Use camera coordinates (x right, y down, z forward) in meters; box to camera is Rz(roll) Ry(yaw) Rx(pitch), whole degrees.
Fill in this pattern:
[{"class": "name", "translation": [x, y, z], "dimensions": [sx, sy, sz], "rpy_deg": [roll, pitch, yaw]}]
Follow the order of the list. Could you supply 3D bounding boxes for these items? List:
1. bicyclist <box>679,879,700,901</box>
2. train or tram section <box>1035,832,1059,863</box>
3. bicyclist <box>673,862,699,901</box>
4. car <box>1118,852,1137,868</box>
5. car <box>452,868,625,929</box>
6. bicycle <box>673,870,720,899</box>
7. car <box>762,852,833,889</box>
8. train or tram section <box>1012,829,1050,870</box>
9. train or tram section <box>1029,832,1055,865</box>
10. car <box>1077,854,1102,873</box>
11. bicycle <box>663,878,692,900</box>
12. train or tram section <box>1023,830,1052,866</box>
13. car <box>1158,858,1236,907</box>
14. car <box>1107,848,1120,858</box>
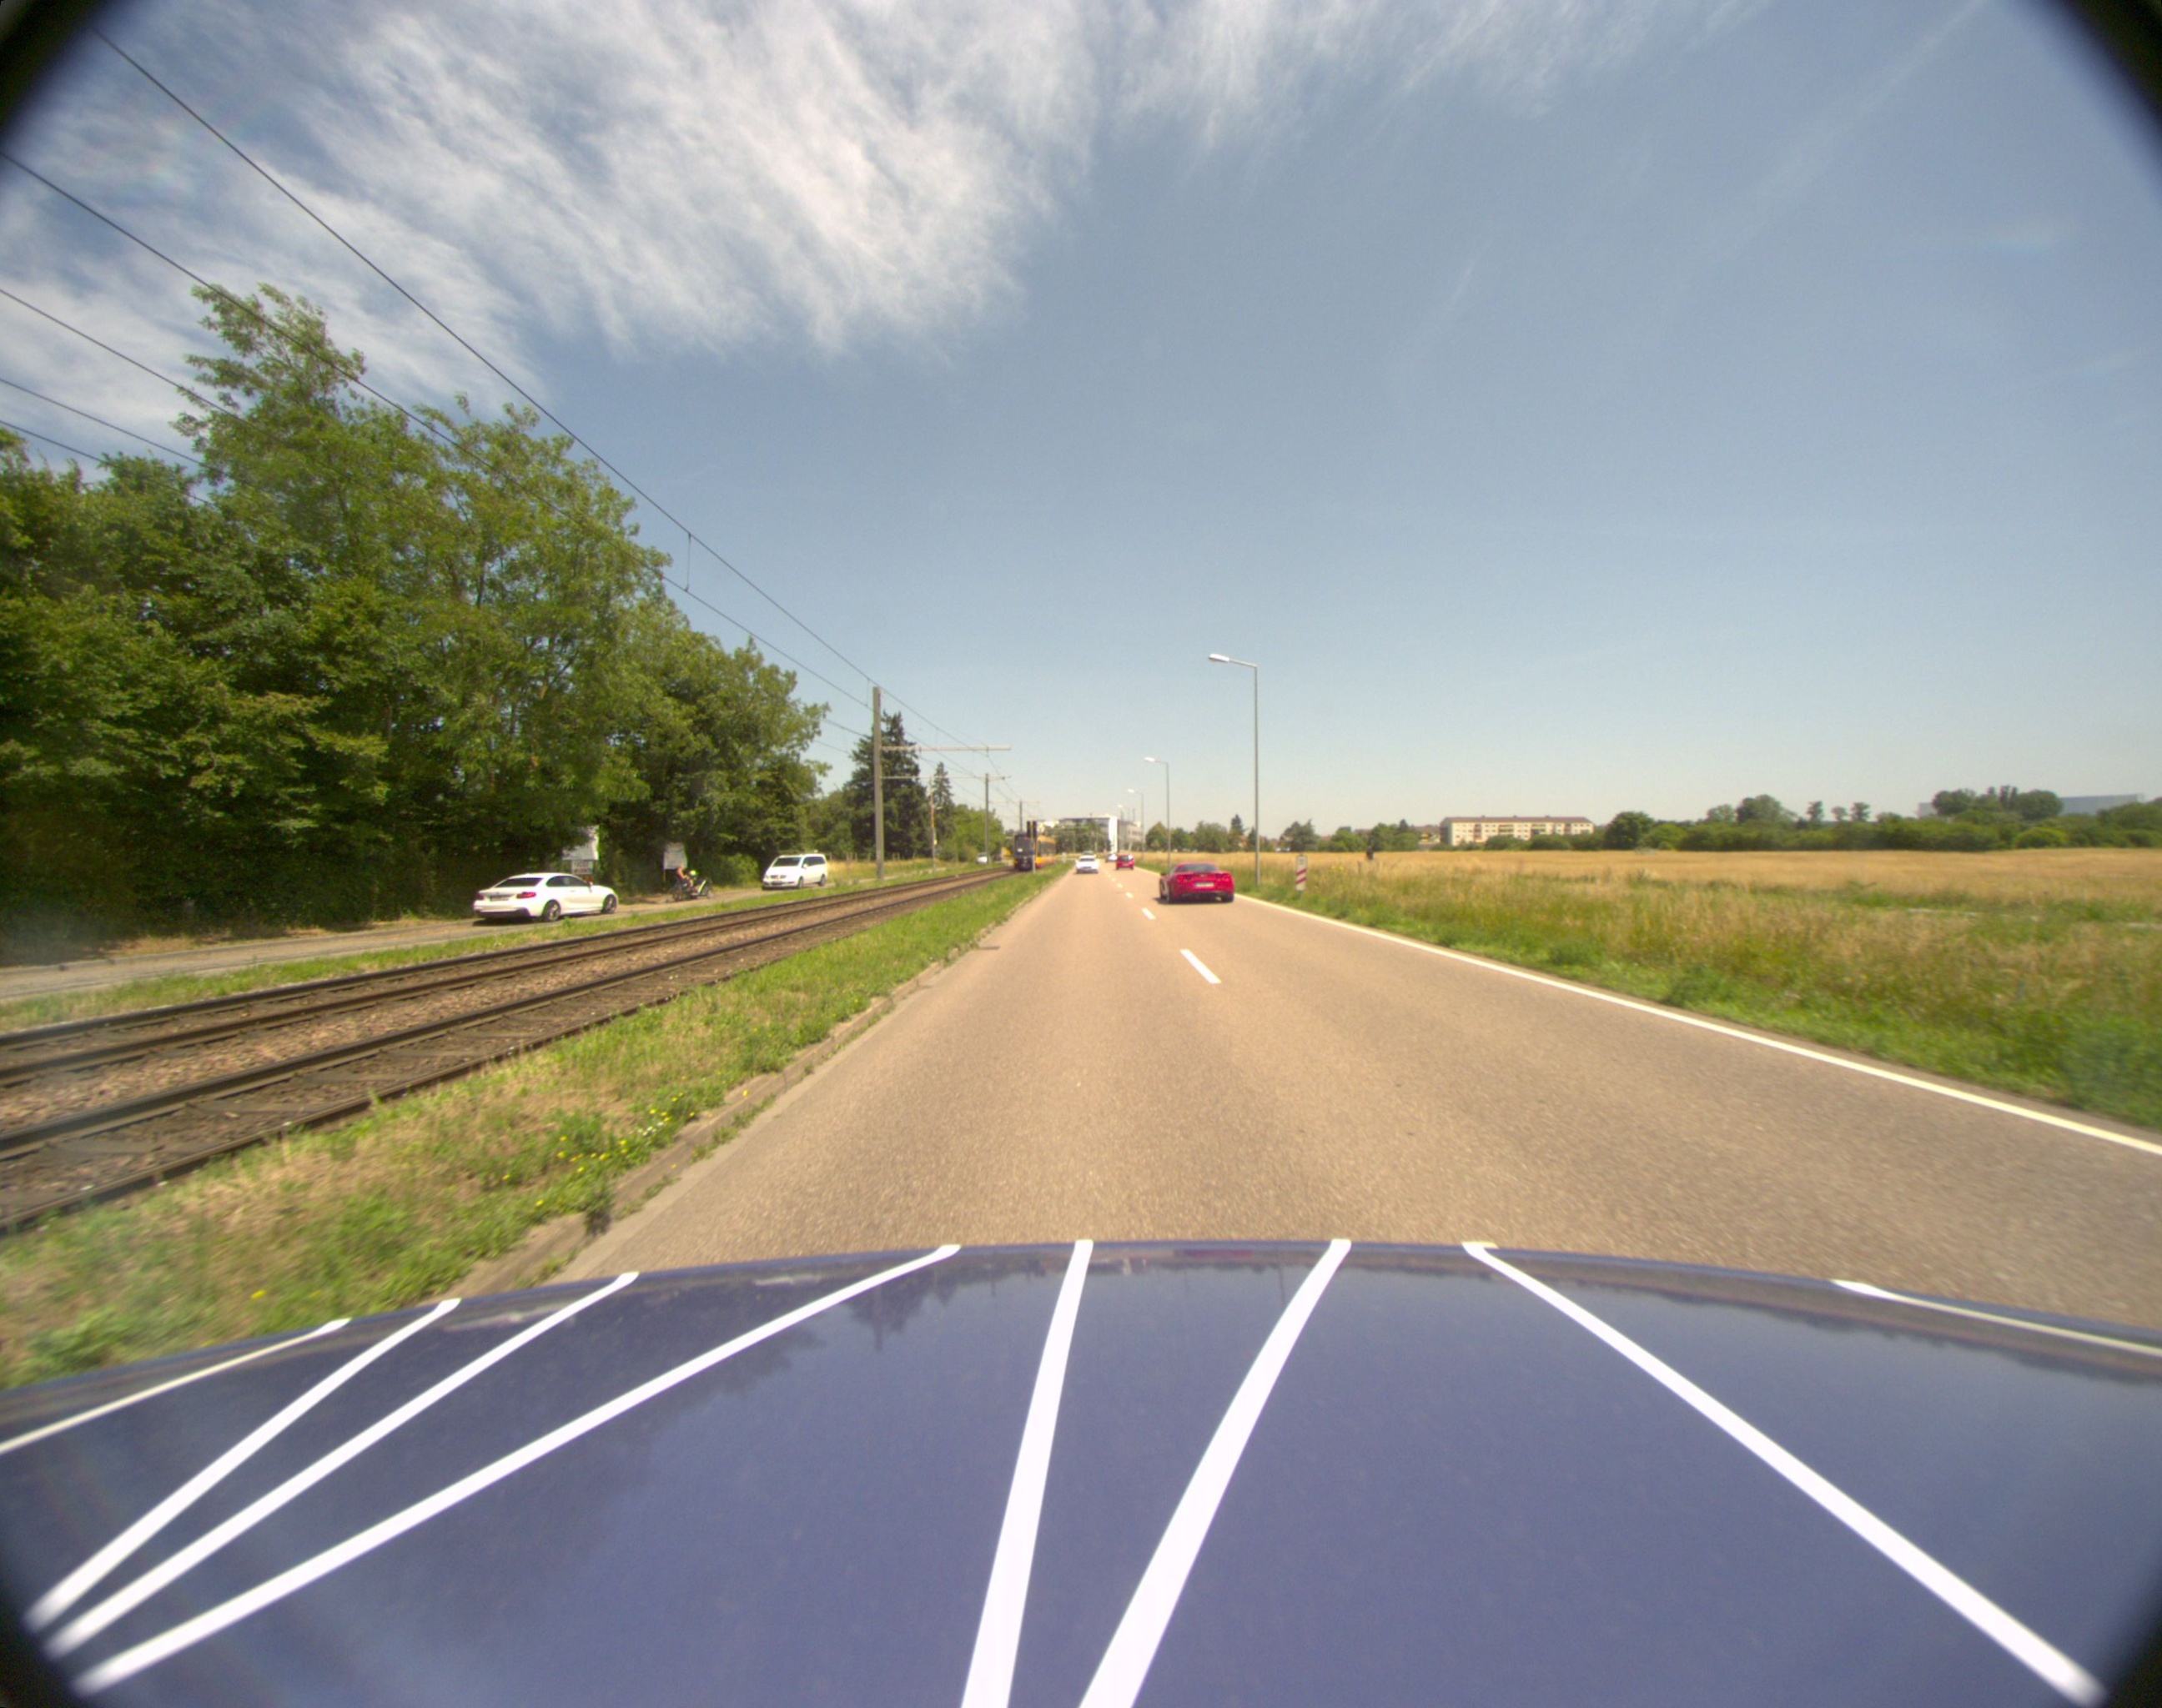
[{"class": "bicyclist", "translation": [-16.872, 1.546, 32.754], "dimensions": [0.524, 0.871, 0.762], "rpy_deg": [-1, 2, -4]}, {"class": "train or tram section", "translation": [-4.368, -0.902, 98.622], "dimensions": [2.435, 3.745, 11.556], "rpy_deg": [0, 1, 1]}, {"class": "bicyclist", "translation": [-16.540, 1.157, 31.819], "dimensions": [0.610, 1.579, 0.925], "rpy_deg": [-1, 2, -4]}, {"class": "car", "translation": [4.424, 0.531, 73.184], "dimensions": [1.649, 1.392, 3.843], "rpy_deg": [0, 1, 1]}, {"class": "car", "translation": [-16.024, 1.247, 22.822], "dimensions": [1.801, 1.441, 4.629], "rpy_deg": [0, 1, 1]}, {"class": "bicycle", "translation": [-16.558, 1.305, 32.743], "dimensions": [1.148, 1.140, 1.658], "rpy_deg": [0, 2, 1]}, {"class": "car", "translation": [-15.760, 0.873, 42.547], "dimensions": [1.998, 1.865, 5.013], "rpy_deg": [0, 1, 1]}, {"class": "train or tram section", "translation": [-4.709, -0.520, 73.732], "dimensions": [2.772, 3.668, 11.183], "rpy_deg": [0, 1, 1]}, {"class": "train or tram section", "translation": [-4.533, -0.712, 89.456], "dimensions": [2.567, 3.692, 6.728], "rpy_deg": [0, 1, 1]}, {"class": "car", "translation": [0.715, 0.745, 63.728], "dimensions": [1.771, 1.434, 4.130], "rpy_deg": [0, 1, 5]}, {"class": "bicycle", "translation": [-16.679, 1.451, 31.442], "dimensions": [0.751, 0.870, 0.798], "rpy_deg": [0, 2, 1]}, {"class": "train or tram section", "translation": [-4.640, -0.753, 82.688], "dimensions": [2.708, 3.745, 6.728], "rpy_deg": [0, 1, 1]}, {"class": "car", "translation": [3.507, 0.819, 23.686], "dimensions": [1.812, 1.278, 4.285], "rpy_deg": [0, 1, 1]}, {"class": "car", "translation": [5.120, -0.180, 120.197], "dimensions": [1.839, 1.458, 4.678], "rpy_deg": [-1, 0, 1]}]
